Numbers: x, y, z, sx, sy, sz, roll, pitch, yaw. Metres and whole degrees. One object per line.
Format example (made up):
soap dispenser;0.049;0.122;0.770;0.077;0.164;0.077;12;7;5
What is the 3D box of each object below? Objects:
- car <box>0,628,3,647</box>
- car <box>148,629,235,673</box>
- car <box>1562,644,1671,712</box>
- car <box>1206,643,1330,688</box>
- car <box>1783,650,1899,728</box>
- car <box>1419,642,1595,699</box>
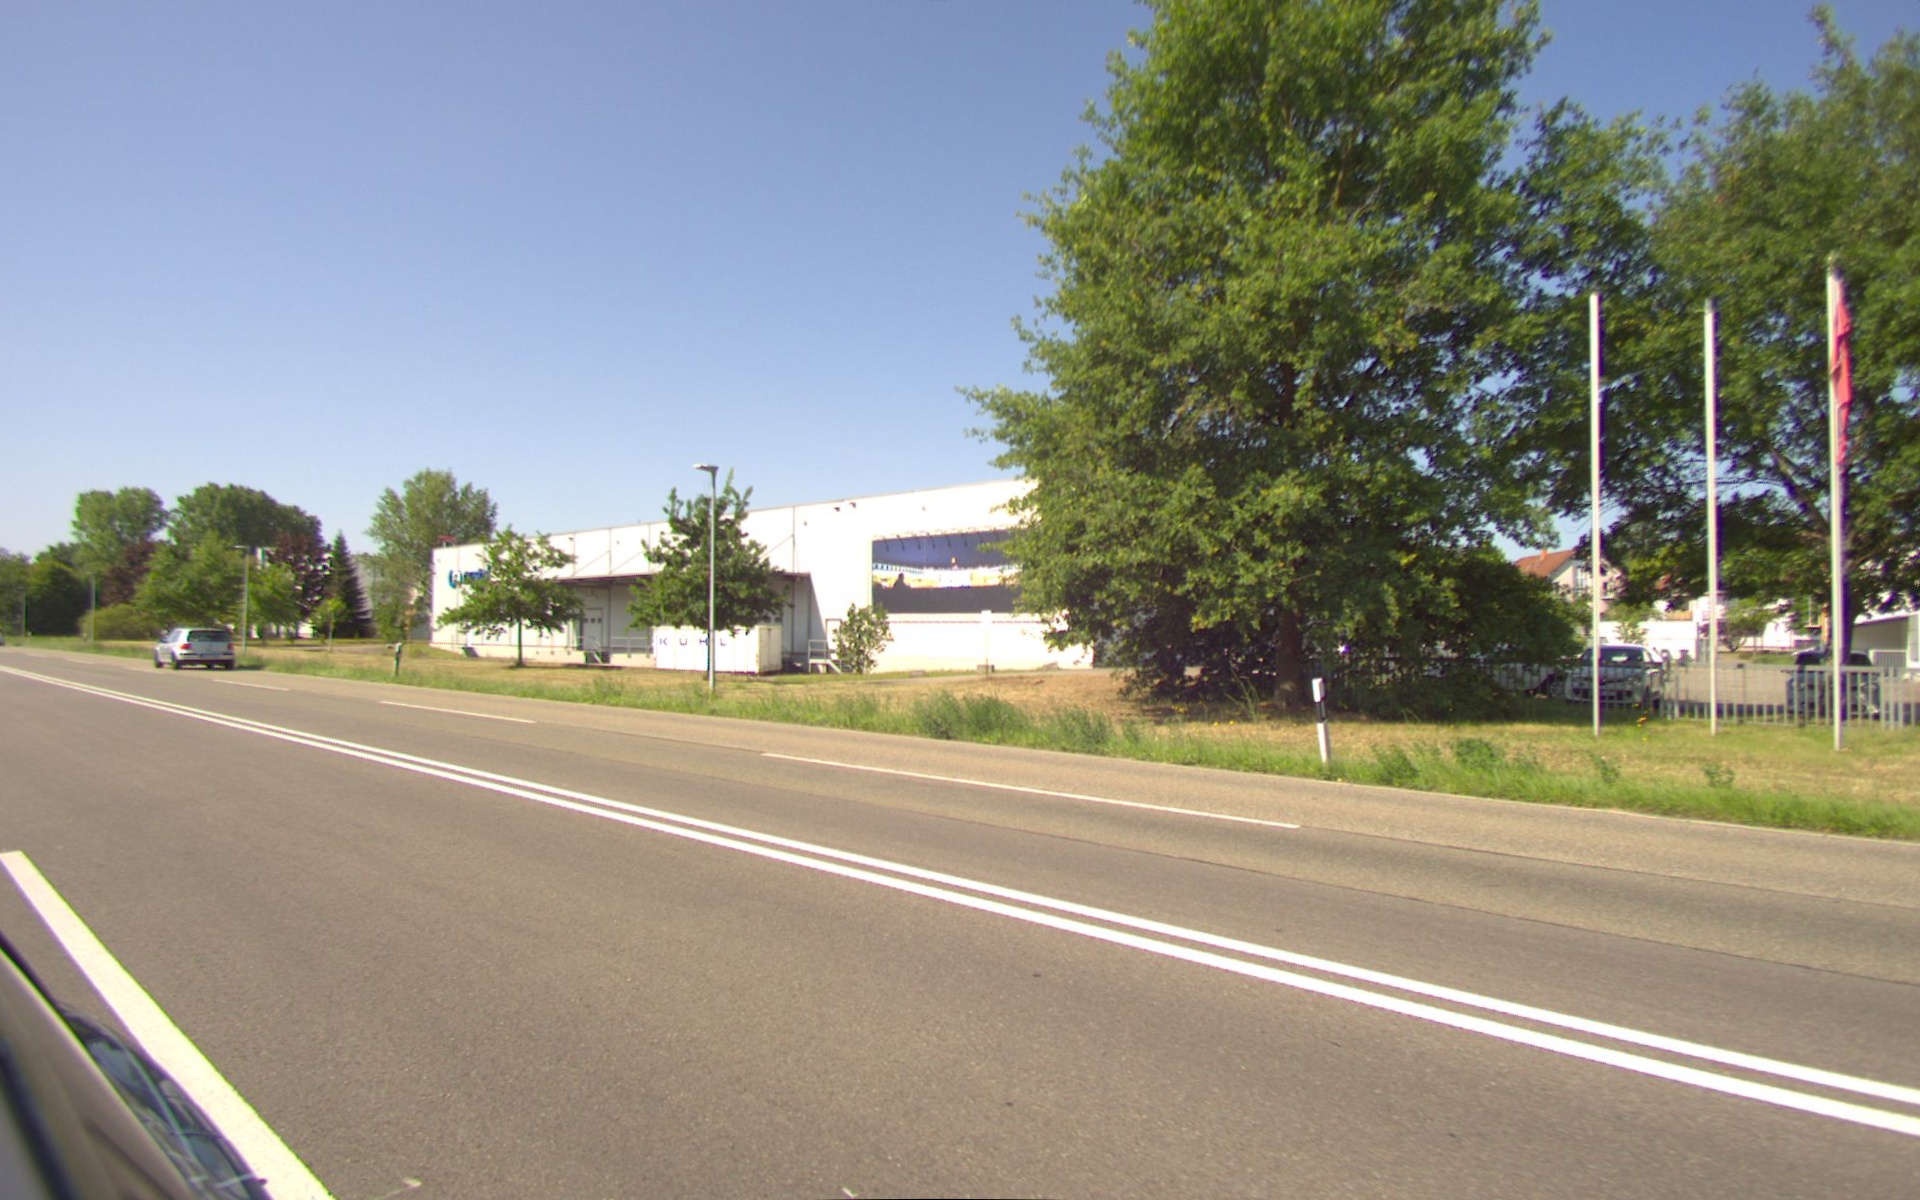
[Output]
car;-73.719;2.795;76.442;3.733;1.448;1.642;-1;-4;41
car;-26.932;1.775;35.419;3.997;1.453;1.581;-1;-4;41
car;16.256;1.847;24.992;1.756;1.512;3.946;-1;-3;40
car;10.454;2.182;34.447;3.720;1.400;1.619;-1;-2;41
car;19.277;1.874;22.227;1.756;1.512;3.946;-1;-3;40
car;15.176;1.936;28.227;3.941;1.512;1.741;1;-2;-2
